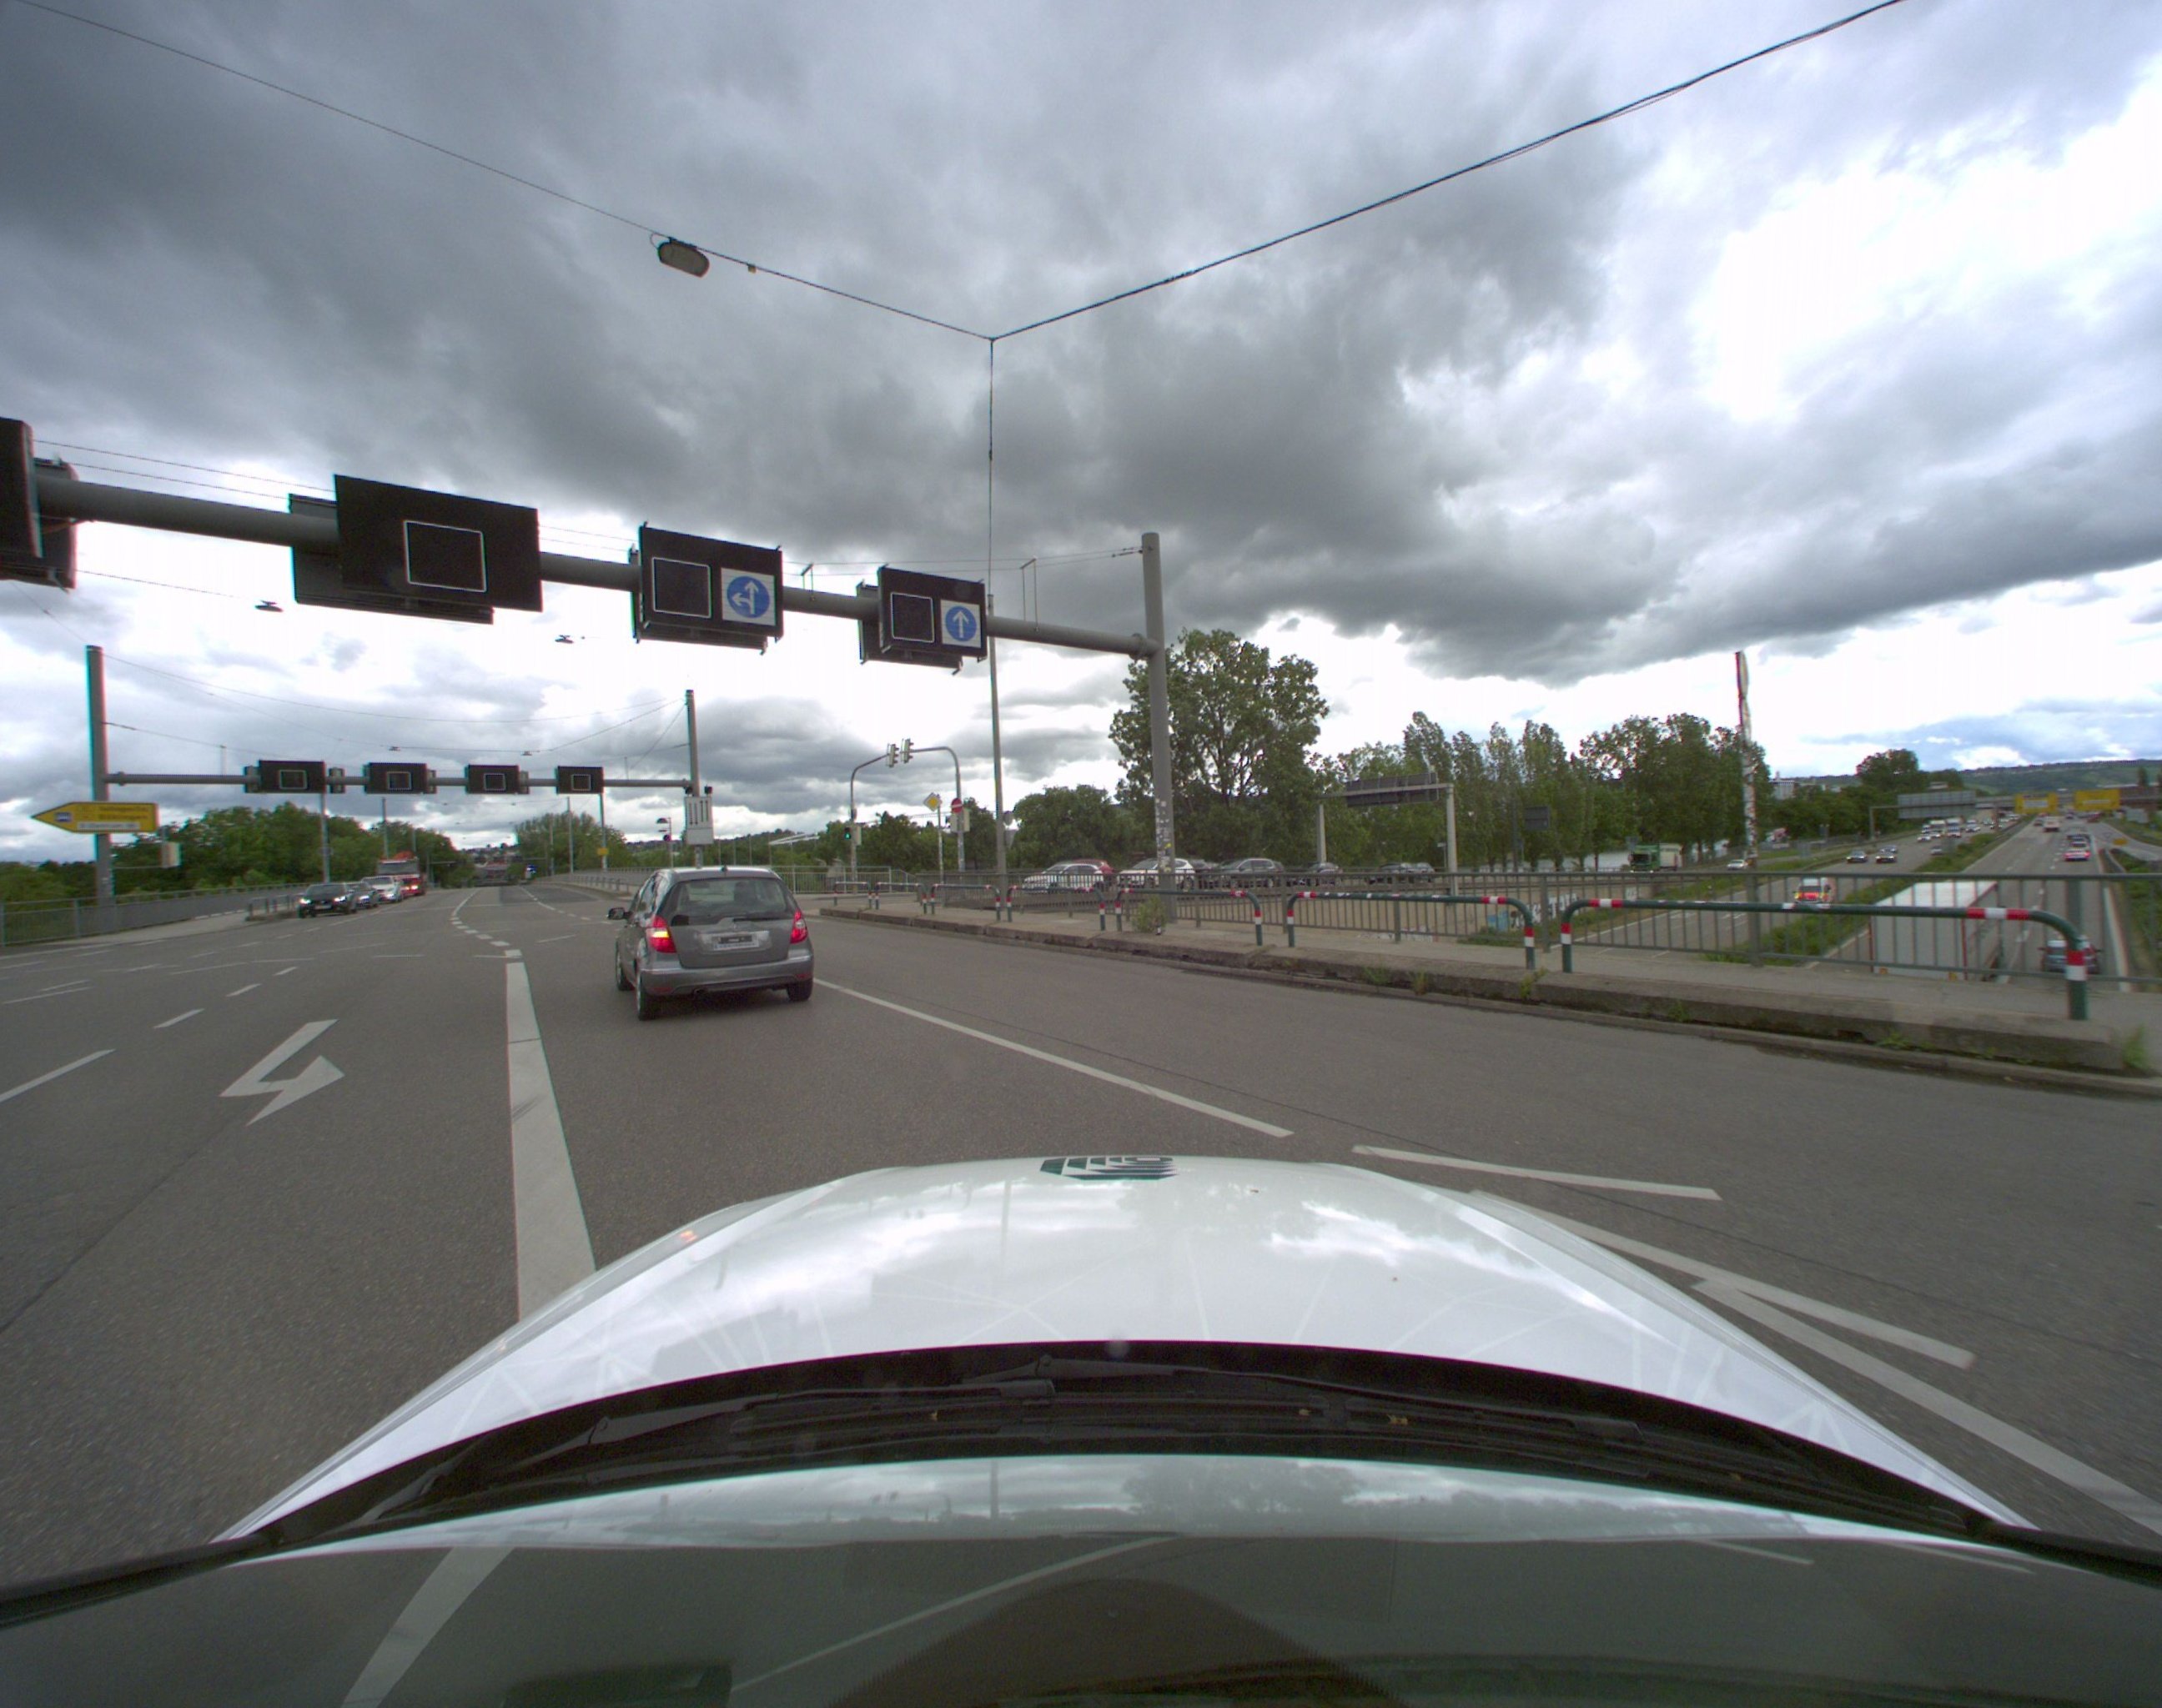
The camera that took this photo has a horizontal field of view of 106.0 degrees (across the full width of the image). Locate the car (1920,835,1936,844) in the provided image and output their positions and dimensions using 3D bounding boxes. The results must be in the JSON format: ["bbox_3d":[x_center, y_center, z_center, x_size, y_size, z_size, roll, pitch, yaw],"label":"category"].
[{"bbox_3d":[182.589,-3.134,175.500,4.099,1.707,1.977,-1,-2,-39],"label":"car"}]

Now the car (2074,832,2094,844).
[{"bbox_3d":[177.032,-2.791,143.800,4.021,2.014,1.976,0,-2,-41],"label":"car"}]

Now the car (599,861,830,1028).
[{"bbox_3d":[-4.598,0.914,9.904,1.759,1.550,3.828,-2,0,-37],"label":"car"}]

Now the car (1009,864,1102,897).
[{"bbox_3d":[-1.099,1.165,36.117,3.783,1.313,1.770,0,-2,-39],"label":"car"}]

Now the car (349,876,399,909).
[{"bbox_3d":[-43.958,2.361,50.727,1.895,1.761,4.749,-4,1,-36],"label":"car"}]

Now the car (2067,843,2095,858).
[{"bbox_3d":[123.172,-0.446,100.364,4.018,1.736,1.976,0,-2,-41],"label":"car"}]

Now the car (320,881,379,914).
[{"bbox_3d":[-39.323,2.282,43.878,1.850,1.504,4.466,-4,1,-36],"label":"car"}]

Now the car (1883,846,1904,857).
[{"bbox_3d":[139.247,-0.389,139.530,4.099,1.707,1.977,-1,-2,-39],"label":"car"}]

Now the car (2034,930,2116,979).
[{"bbox_3d":[43.953,4.372,35.980,4.014,1.736,1.978,-1,-2,-36],"label":"car"}]

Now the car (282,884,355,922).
[{"bbox_3d":[-35.667,2.235,38.179,1.849,1.504,3.830,-4,1,-34],"label":"car"}]

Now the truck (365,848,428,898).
[{"bbox_3d":[-54.914,1.483,65.560,3.030,3.565,9.871,-4,1,-36],"label":"truck"}]

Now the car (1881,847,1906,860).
[{"bbox_3d":[115.223,-0.052,115.487,4.099,1.707,1.977,-1,-2,-39],"label":"car"}]

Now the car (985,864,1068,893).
[{"bbox_3d":[-2.877,1.303,43.430,4.174,1.421,1.676,0,-3,-39],"label":"car"}]

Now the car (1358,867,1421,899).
[{"bbox_3d":[20.237,1.872,53.380,4.020,1.617,1.978,-7,3,-37],"label":"car"}]

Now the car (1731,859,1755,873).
[{"bbox_3d":[94.912,1.763,116.764,3.792,1.669,1.976,-6,3,-42],"label":"car"}]

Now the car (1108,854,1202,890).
[{"bbox_3d":[3.677,0.878,40.097,4.362,1.619,1.977,0,-2,-37],"label":"car"}]

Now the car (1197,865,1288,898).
[{"bbox_3d":[8.705,1.478,43.754,4.986,1.619,1.977,0,-2,-37],"label":"car"}]

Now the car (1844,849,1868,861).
[{"bbox_3d":[113.372,0.142,119.153,4.099,1.707,1.977,-1,-2,-39],"label":"car"}]

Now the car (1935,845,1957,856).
[{"bbox_3d":[134.563,-0.533,126.627,4.099,1.707,1.977,-1,-2,-39],"label":"car"}]

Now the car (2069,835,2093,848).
[{"bbox_3d":[145.458,-1.835,118.447,4.018,1.736,1.976,0,-2,-41],"label":"car"}]

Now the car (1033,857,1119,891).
[{"bbox_3d":[-0.225,0.982,39.942,4.027,1.540,1.676,0,-3,-38],"label":"car"}]

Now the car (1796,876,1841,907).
[{"bbox_3d":[61.525,3.082,67.878,4.612,2.371,1.977,-1,-2,-39],"label":"car"}]

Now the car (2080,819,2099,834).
[{"bbox_3d":[191.984,-5.260,155.079,5.428,2.622,1.976,0,-2,-41],"label":"car"}]

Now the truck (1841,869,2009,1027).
[{"bbox_3d":[36.196,3.470,34.634,13.247,4.485,3.548,-6,3,-38],"label":"truck"}]

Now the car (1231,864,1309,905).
[{"bbox_3d":[11.652,1.807,50.149,4.567,2.013,2.188,-6,3,-38],"label":"car"}]

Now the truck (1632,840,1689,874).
[{"bbox_3d":[68.311,0.315,95.971,9.302,3.509,2.751,-3,1,-37],"label":"truck"}]

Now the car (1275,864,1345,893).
[{"bbox_3d":[13.604,1.442,48.359,4.019,1.618,1.977,0,-2,-38],"label":"car"}]

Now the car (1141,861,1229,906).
[{"bbox_3d":[5.846,1.580,45.581,4.567,2.013,2.188,-6,3,-38],"label":"car"}]
